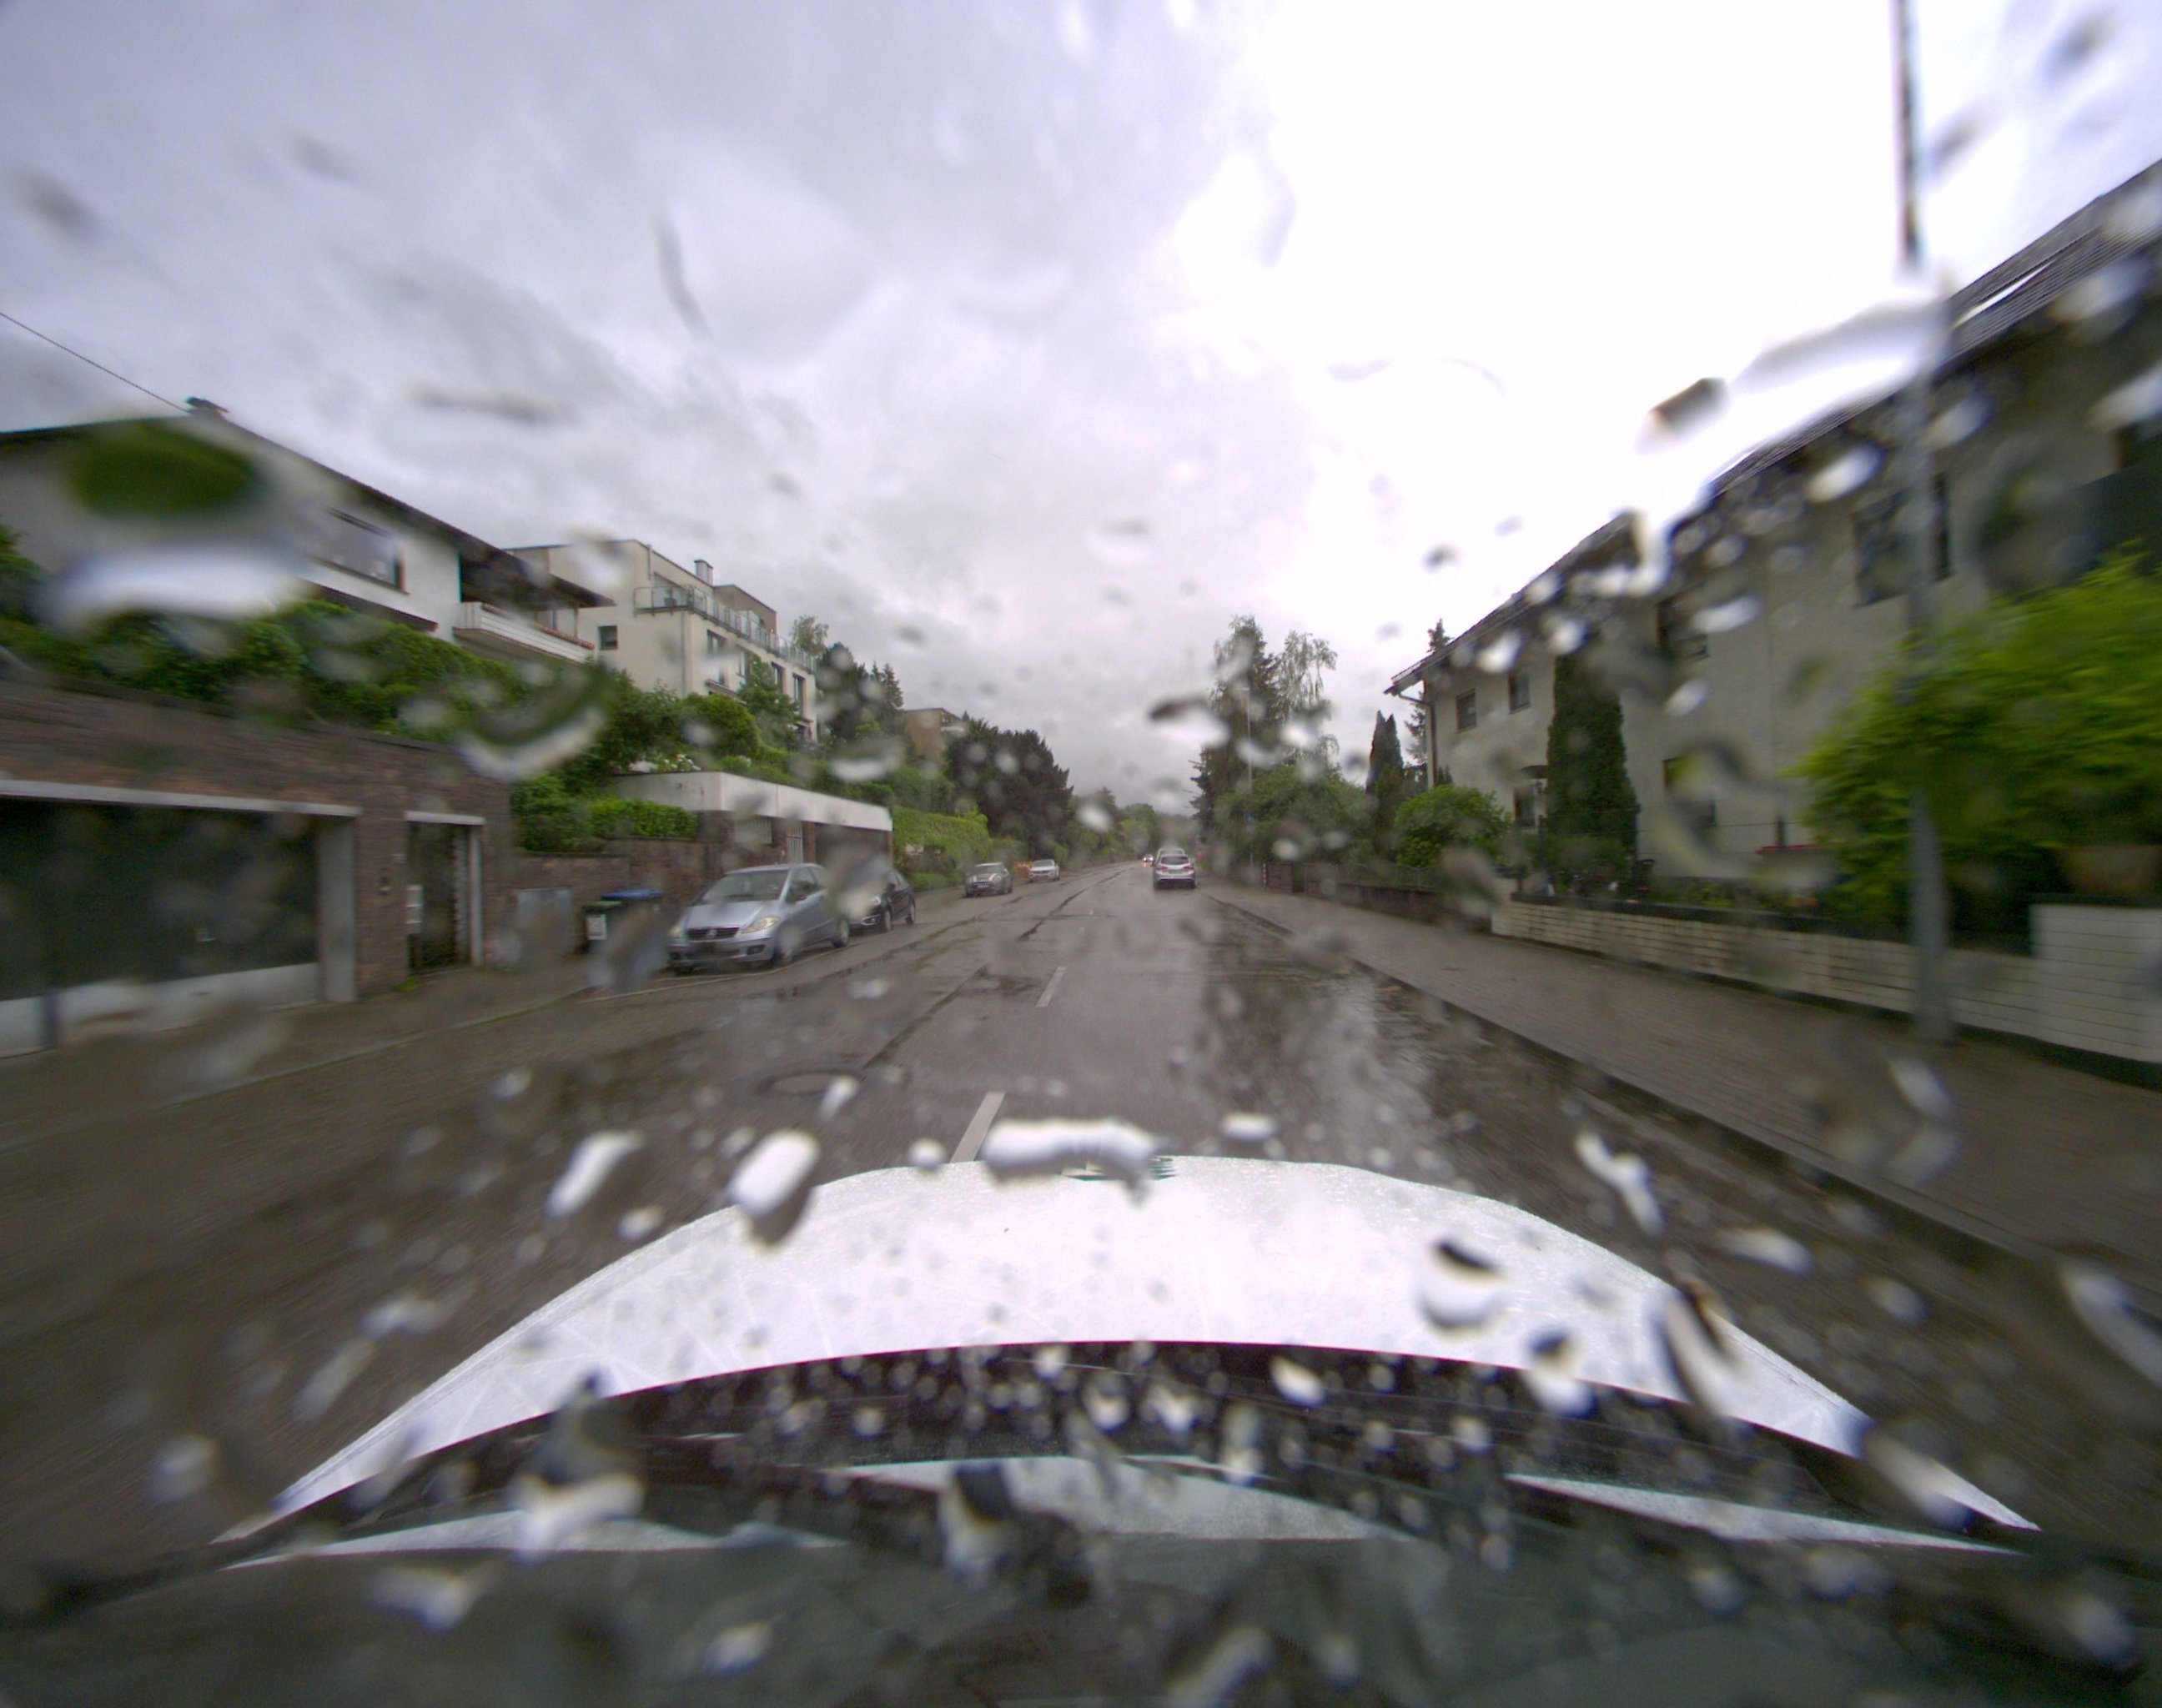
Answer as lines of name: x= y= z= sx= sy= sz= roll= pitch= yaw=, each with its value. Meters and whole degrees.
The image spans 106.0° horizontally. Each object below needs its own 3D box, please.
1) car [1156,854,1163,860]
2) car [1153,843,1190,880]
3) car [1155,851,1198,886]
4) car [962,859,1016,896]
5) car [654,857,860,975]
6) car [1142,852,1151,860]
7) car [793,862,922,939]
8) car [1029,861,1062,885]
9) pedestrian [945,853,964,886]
car: x=17.685 y=0.615 z=183.786 sx=1.646 sy=1.352 sz=3.993 roll=-2 pitch=-1 yaw=5
car: x=4.665 y=0.376 z=42.299 sx=1.776 sy=1.790 sz=4.367 roll=-2 pitch=-1 yaw=5
car: x=4.244 y=0.641 z=36.695 sx=1.780 sy=1.460 sz=4.315 roll=-2 pitch=-1 yaw=5
car: x=-4.039 y=1.007 z=36.429 sx=1.749 sy=1.402 sz=3.772 roll=-4 pitch=0 yaw=2
car: x=-5.236 y=0.912 z=13.757 sx=1.749 sy=1.539 sz=3.758 roll=-5 pitch=0 yaw=2
car: x=12.603 y=0.447 z=156.366 sx=1.655 sy=1.461 sz=3.665 roll=-2 pitch=-1 yaw=3
car: x=-5.038 y=0.995 z=18.885 sx=1.749 sy=1.409 sz=3.706 roll=-5 pitch=0 yaw=2
car: x=-2.380 y=1.272 z=55.452 sx=1.748 sy=1.498 sz=4.223 roll=-3 pitch=-1 yaw=3
pedestrian: x=-7.206 y=0.867 z=46.519 sx=0.838 sy=1.880 sz=0.903 roll=-1 pitch=-1 yaw=6
